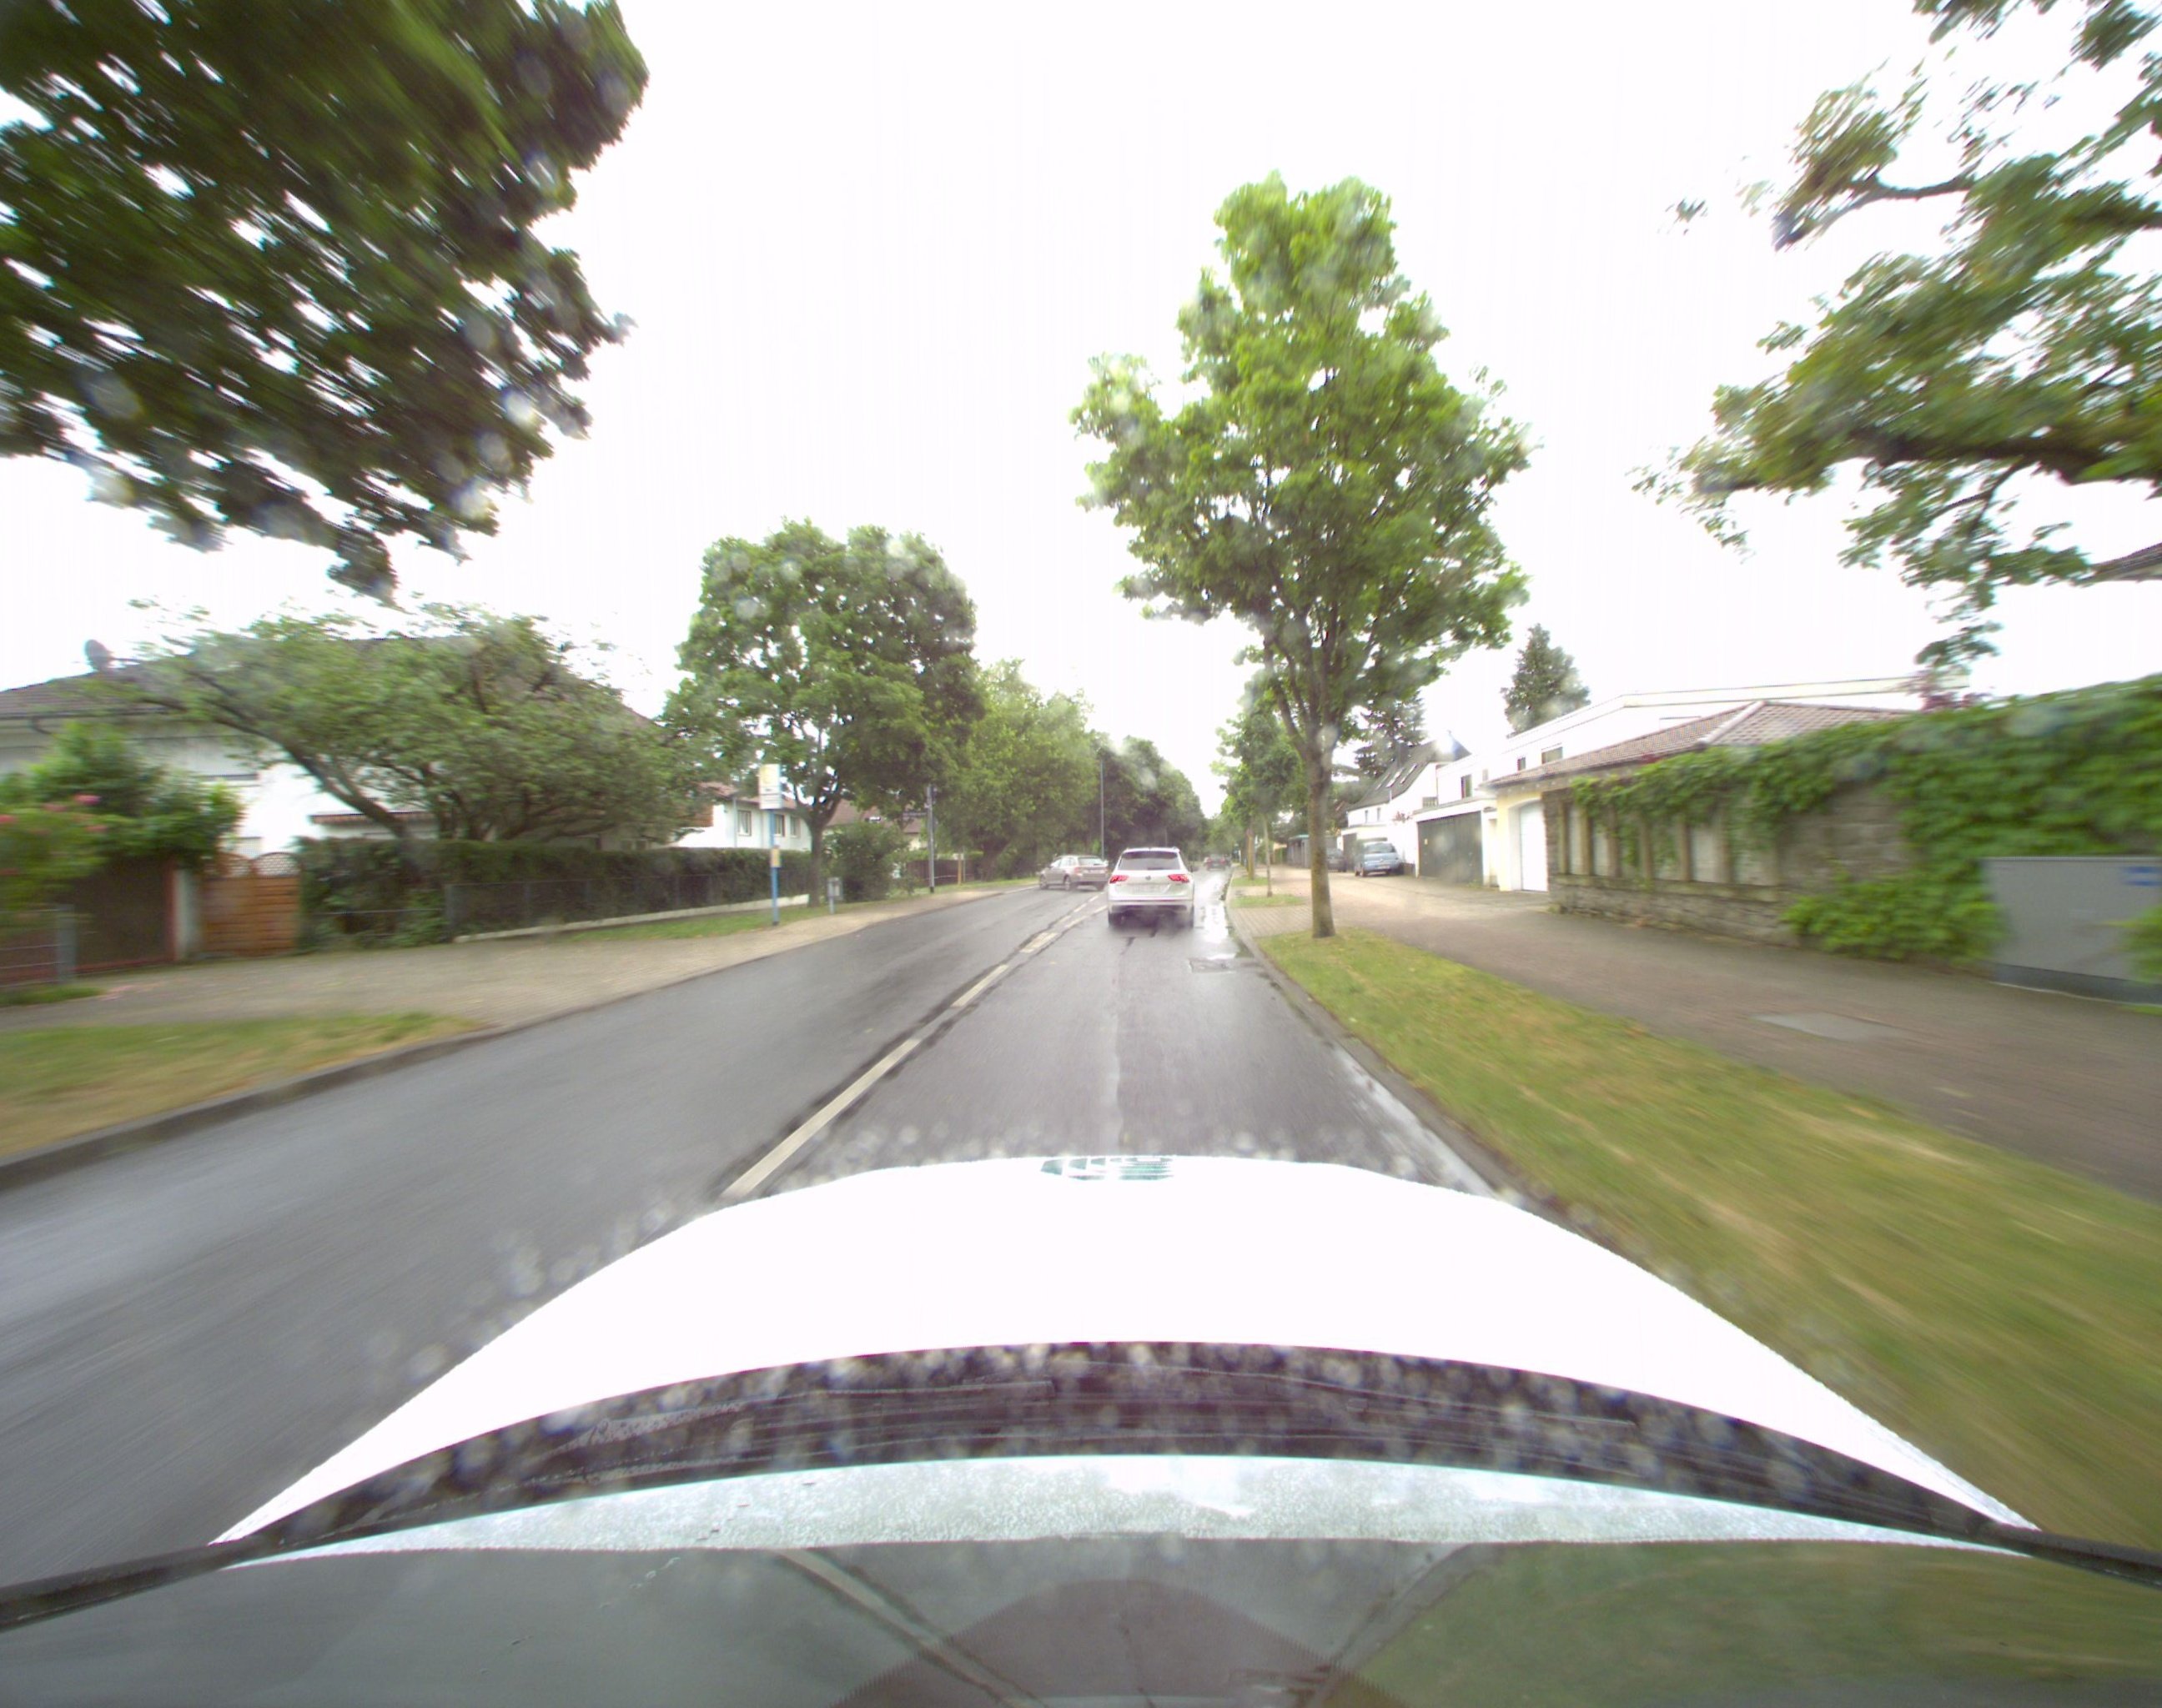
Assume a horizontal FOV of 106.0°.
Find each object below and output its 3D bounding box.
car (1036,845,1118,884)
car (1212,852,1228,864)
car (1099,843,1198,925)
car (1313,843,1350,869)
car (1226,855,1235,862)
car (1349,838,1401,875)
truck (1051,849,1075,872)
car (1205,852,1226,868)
[{"bbox_3d":[-0.235,0.486,34.573,1.851,1.487,3.964,-3,-1,-27],"label":"car"},{"bbox_3d":[19.137,0.592,112.236,1.832,1.487,4.005,-3,-1,5],"label":"car"},{"bbox_3d":[1.620,0.598,18.381,1.986,1.632,4.009,0,0,8],"label":"car"},{"bbox_3d":[15.601,0.099,50.982,1.759,1.498,4.559,-2,0,12],"label":"car"},{"bbox_3d":[28.620,0.778,155.799,1.627,1.326,4.010,0,0,9],"label":"car"},{"bbox_3d":[13.870,0.104,38.610,1.732,1.611,4.013,-2,0,12],"label":"car"},{"bbox_3d":[-2.169,0.811,100.799,2.274,2.597,5.881,-2,-1,5],"label":"truck"},{"bbox_3d":[12.896,0.557,77.905,1.829,1.487,4.012,1,0,11],"label":"car"}]
